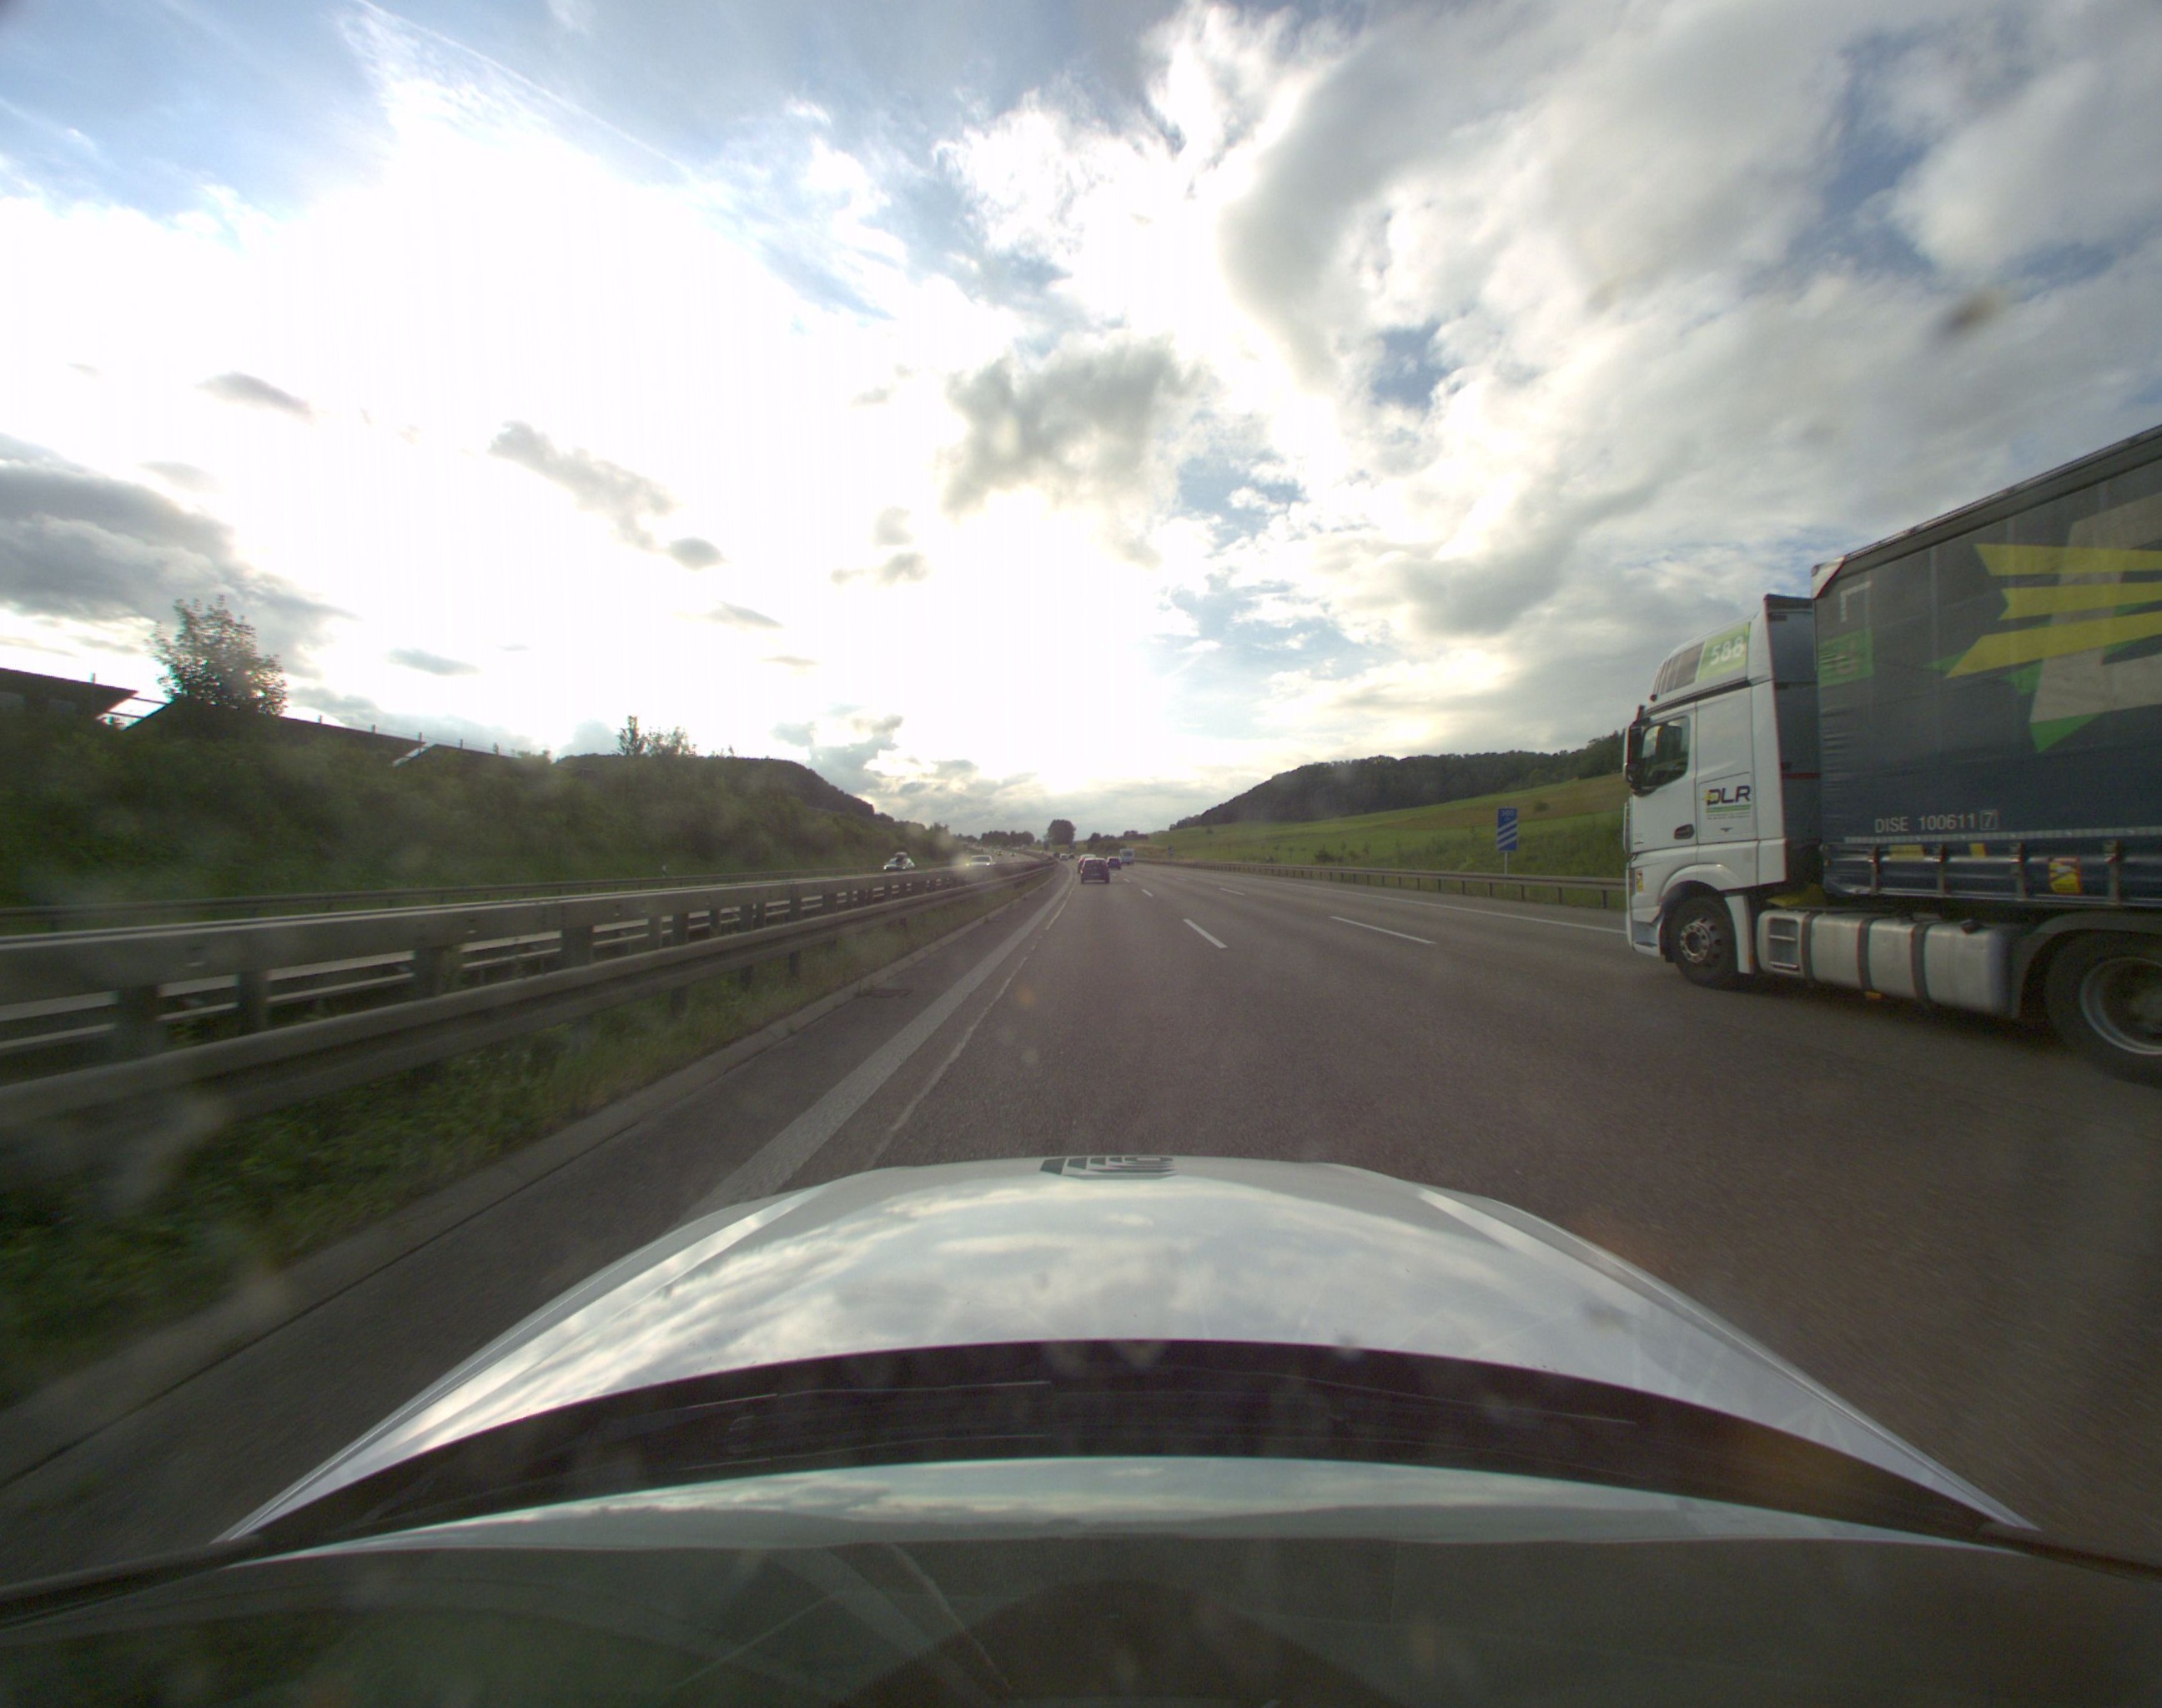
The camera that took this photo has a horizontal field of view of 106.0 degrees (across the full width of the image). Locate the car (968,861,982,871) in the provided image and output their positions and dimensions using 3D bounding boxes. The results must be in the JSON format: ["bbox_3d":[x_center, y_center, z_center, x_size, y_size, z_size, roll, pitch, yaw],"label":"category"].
[{"bbox_3d":[-15.814,1.835,121.934,1.702,1.415,3.997,-1,0,-1],"label":"car"}]

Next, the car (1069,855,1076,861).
[{"bbox_3d":[-2.247,1.100,222.843,1.951,1.574,3.999,-1,0,0],"label":"car"}]

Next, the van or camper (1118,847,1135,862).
[{"bbox_3d":[7.165,0.132,128.922,2.536,2.239,5.335,-1,0,4],"label":"van or camper"}]

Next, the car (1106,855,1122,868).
[{"bbox_3d":[3.852,0.852,95.375,1.761,1.433,3.999,-1,0,0],"label":"car"}]

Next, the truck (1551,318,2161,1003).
[{"bbox_3d":[7.716,-1.153,2.350,2.953,3.992,17.739,-1,0,2],"label":"truck"}]

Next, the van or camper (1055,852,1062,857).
[{"bbox_3d":[-6.479,0.160,235.167,1.959,1.433,4.000,-1,0,1],"label":"van or camper"}]

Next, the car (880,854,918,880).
[{"bbox_3d":[-14.588,1.014,65.602,1.956,2.040,5.018,-1,0,0],"label":"car"}]

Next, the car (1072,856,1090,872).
[{"bbox_3d":[0.053,0.910,74.462,1.560,1.380,4.000,-1,0,0],"label":"car"}]

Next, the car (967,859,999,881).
[{"bbox_3d":[-7.293,1.155,61.110,1.827,1.591,5.018,-1,0,0],"label":"car"}]

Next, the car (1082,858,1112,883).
[{"bbox_3d":[0.954,0.943,47.763,1.531,1.348,3.681,-1,0,5],"label":"car"}]
